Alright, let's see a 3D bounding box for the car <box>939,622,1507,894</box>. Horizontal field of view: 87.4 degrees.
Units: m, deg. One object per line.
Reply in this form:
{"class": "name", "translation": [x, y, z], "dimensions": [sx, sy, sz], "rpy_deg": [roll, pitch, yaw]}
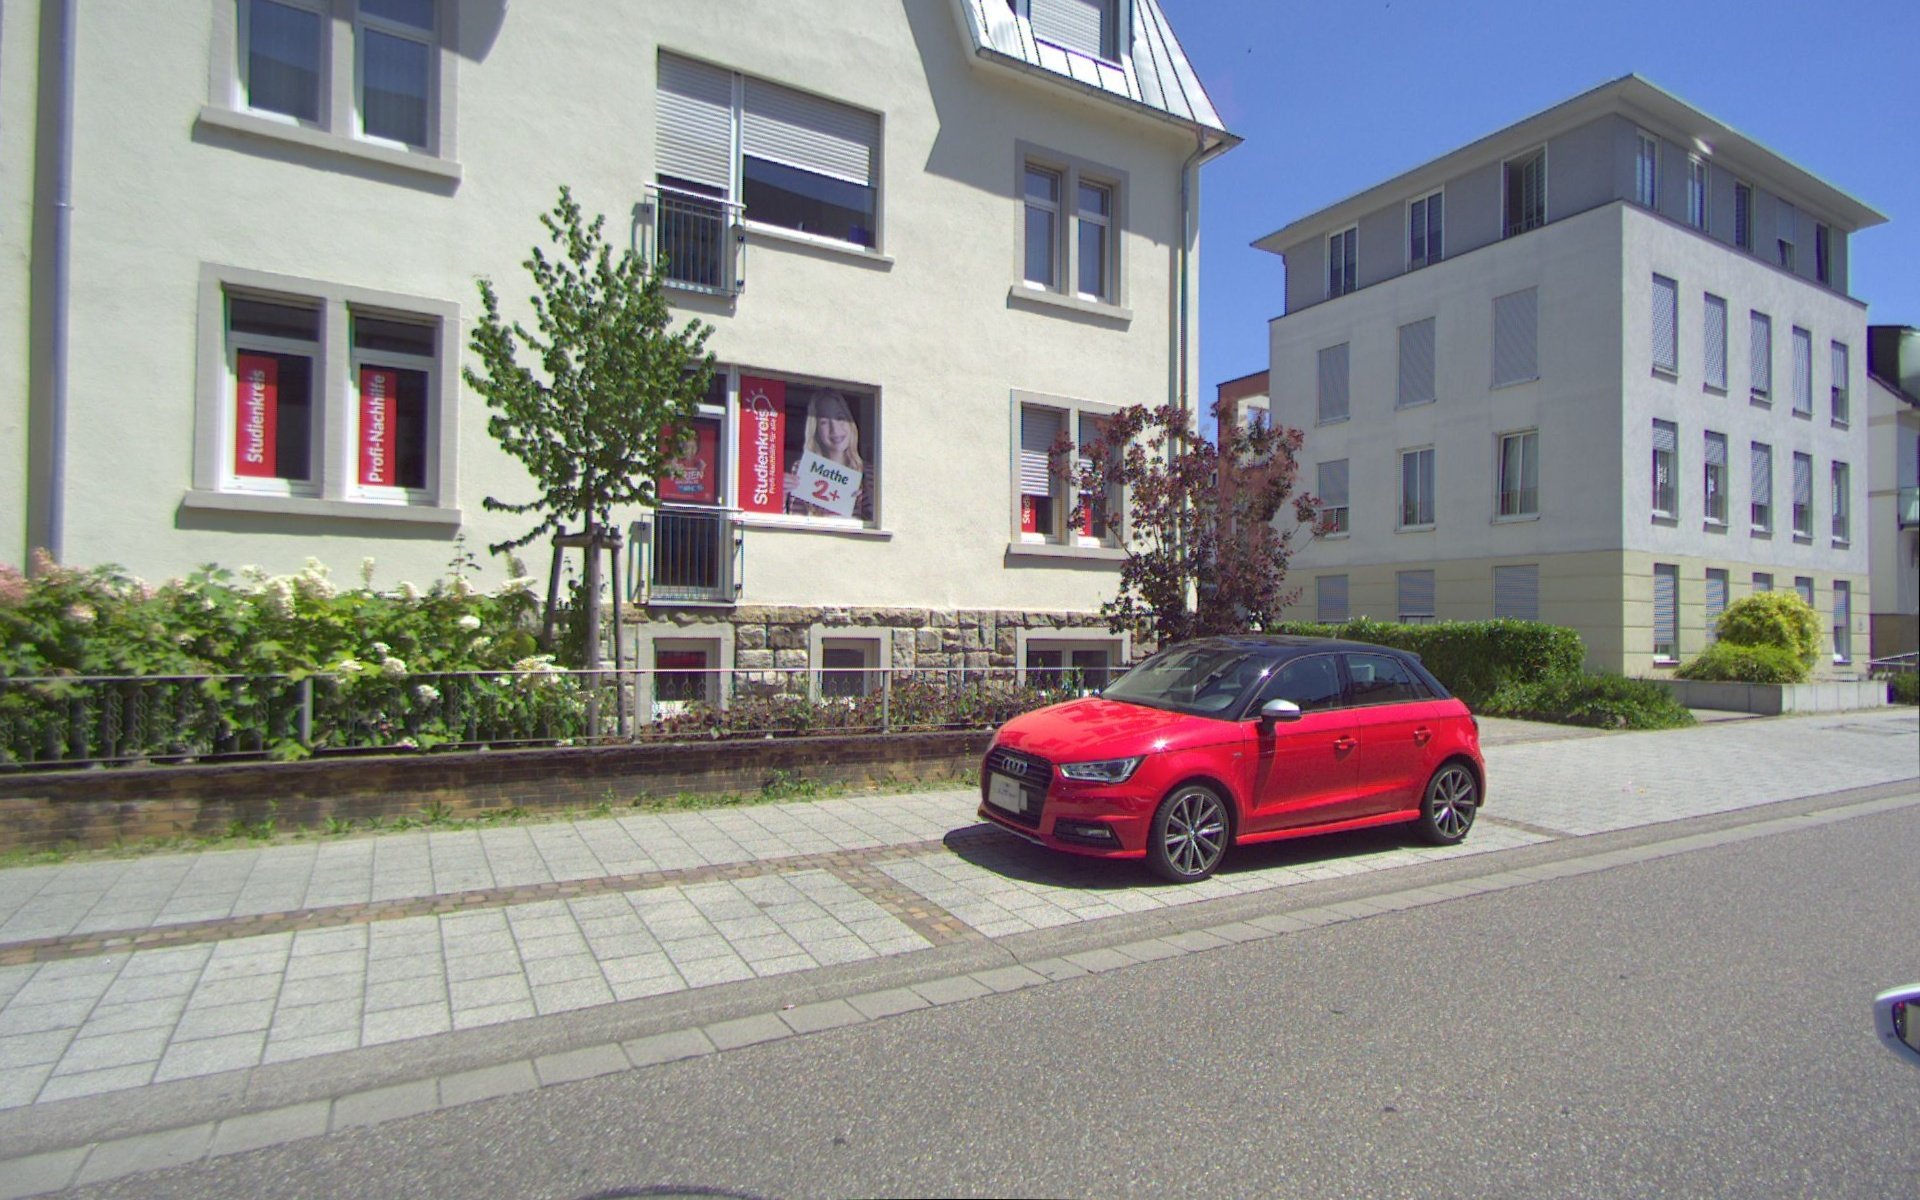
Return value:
{"class": "car", "translation": [1.941, 0.932, 7.183], "dimensions": [3.858, 1.438, 1.642], "rpy_deg": [2, 0, -29]}
